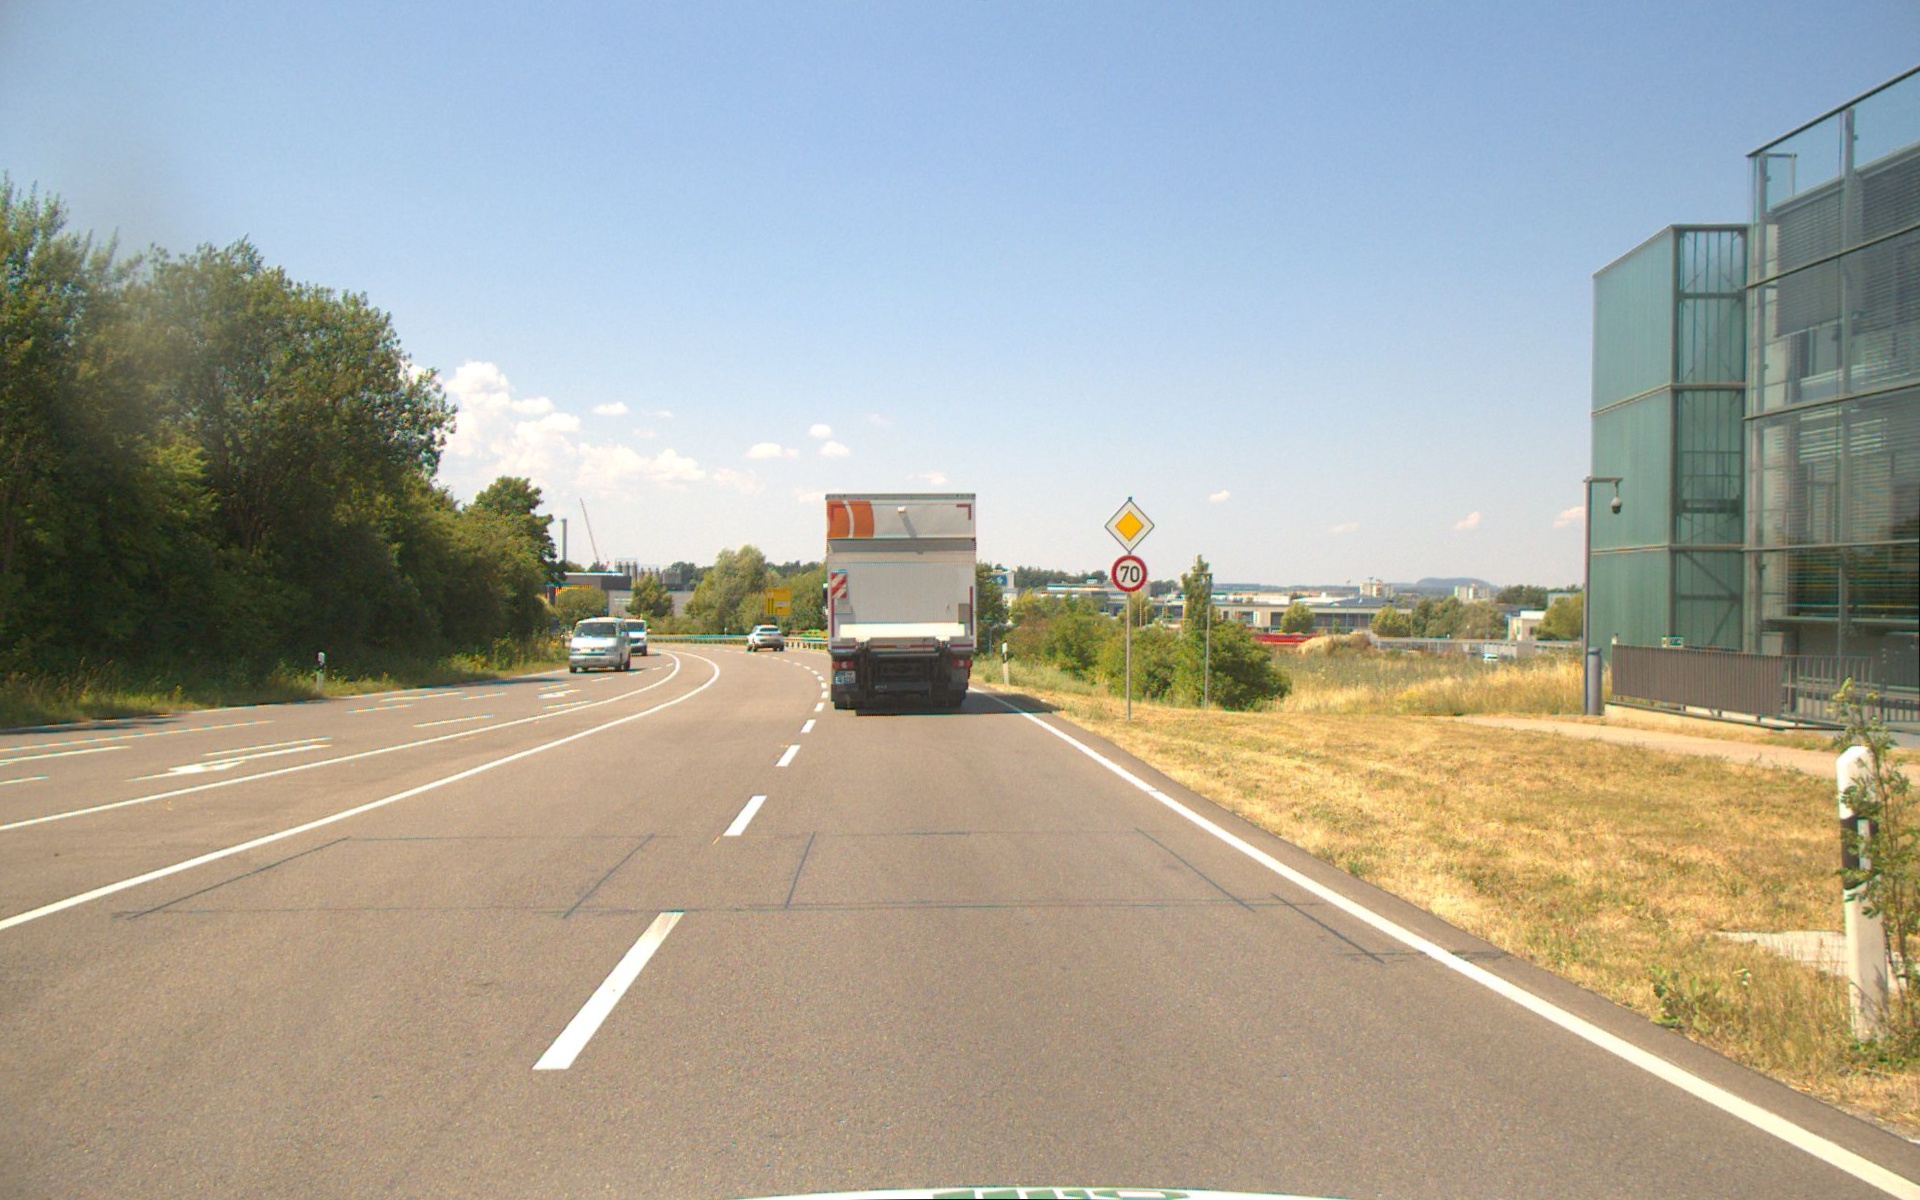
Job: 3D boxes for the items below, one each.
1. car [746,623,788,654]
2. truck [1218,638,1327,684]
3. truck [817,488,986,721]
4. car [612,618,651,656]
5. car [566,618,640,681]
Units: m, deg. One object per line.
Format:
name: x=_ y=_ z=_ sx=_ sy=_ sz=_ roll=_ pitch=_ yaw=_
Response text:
car: x=-11.427 y=2.312 z=97.822 sx=1.911 sy=1.694 sz=3.984 roll=2 pitch=-3 yaw=-14
truck: x=28.639 y=5.575 z=151.701 sx=9.203 sy=3.749 sz=3.128 roll=2 pitch=0 yaw=25
truck: x=-1.060 y=0.139 z=31.494 sx=2.747 sy=3.776 sz=9.104 roll=0 pitch=-1 yaw=-1
car: x=-18.203 y=2.036 z=91.680 sx=2.039 sy=2.049 sz=5.791 roll=0 pitch=-1 yaw=-11
car: x=-13.036 y=1.768 z=60.655 sx=1.935 sy=2.049 sz=4.836 roll=2 pitch=0 yaw=-5
